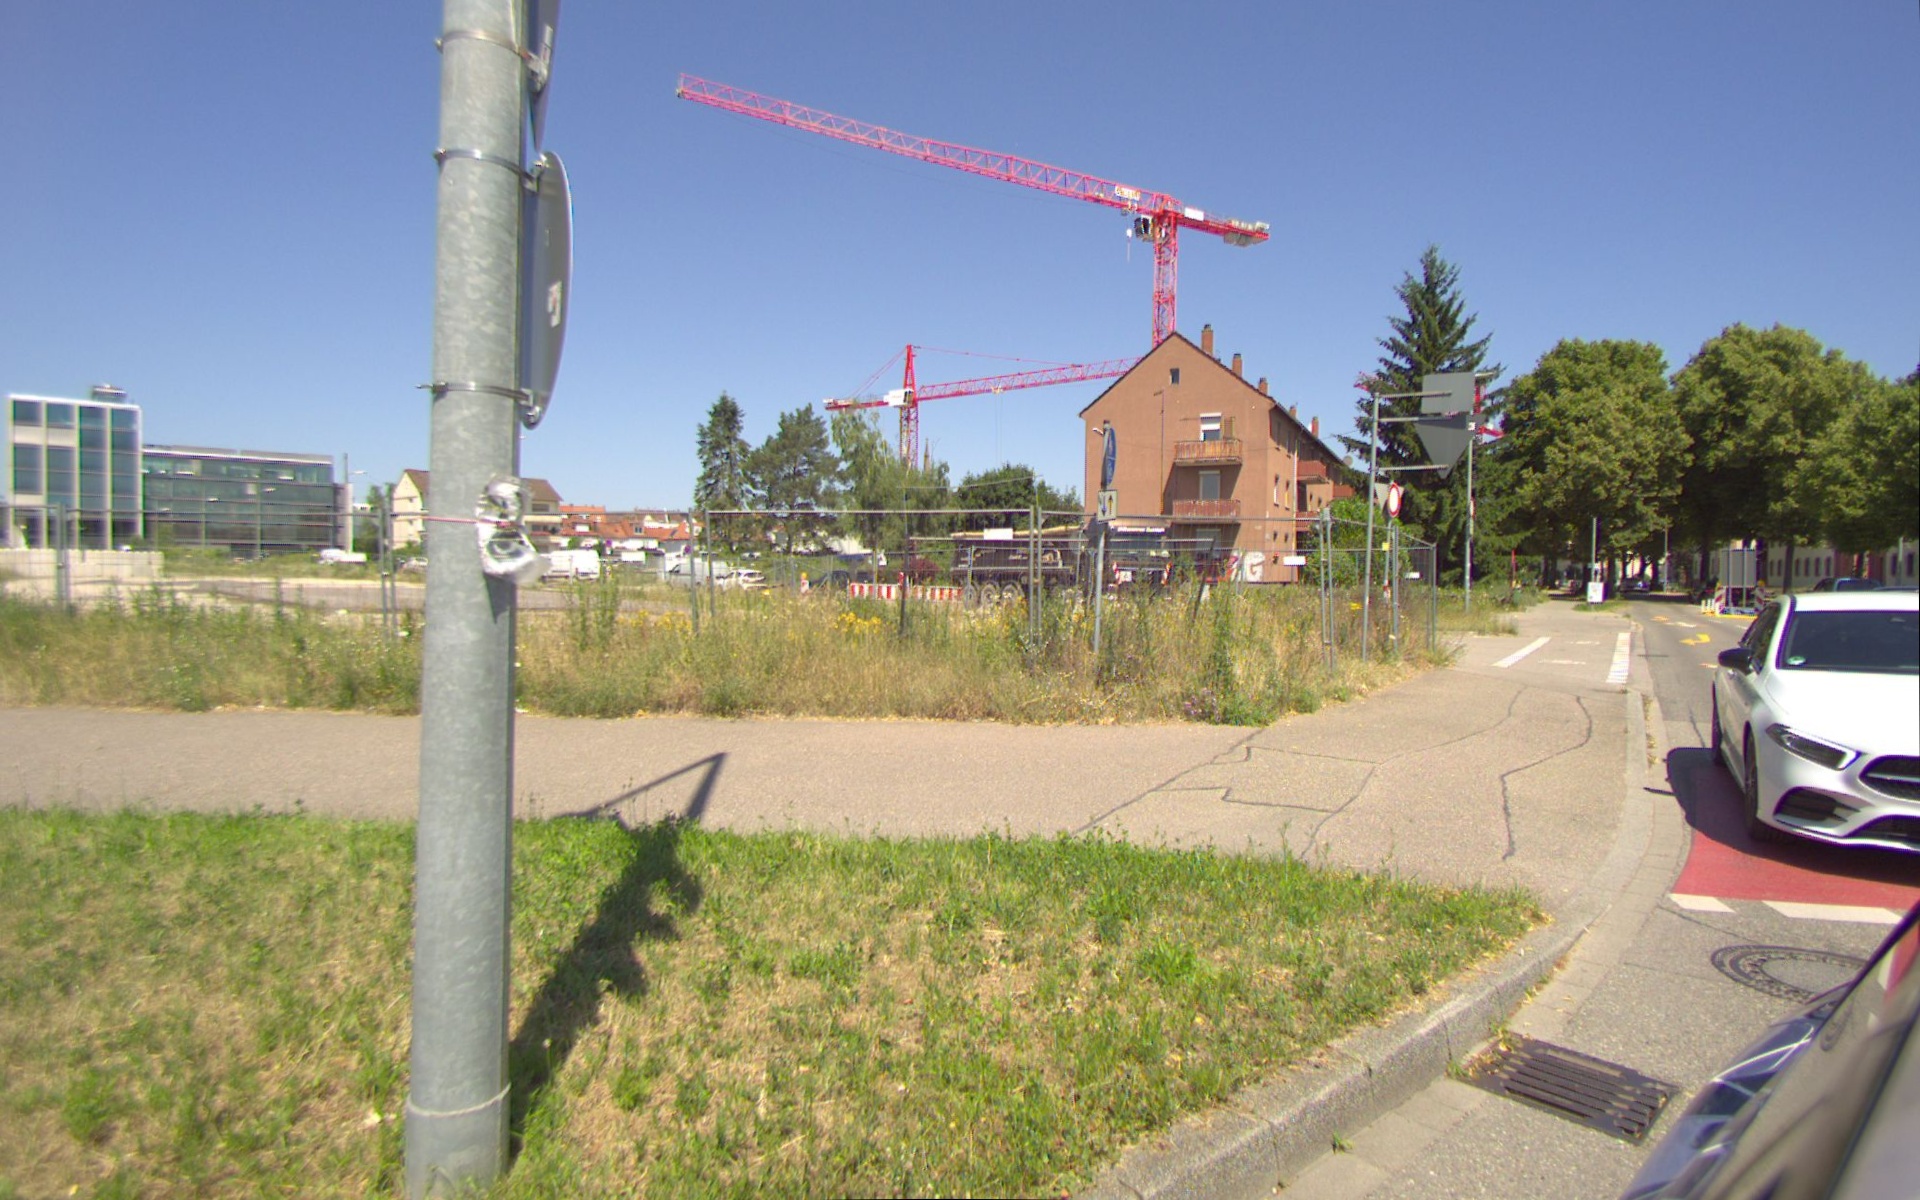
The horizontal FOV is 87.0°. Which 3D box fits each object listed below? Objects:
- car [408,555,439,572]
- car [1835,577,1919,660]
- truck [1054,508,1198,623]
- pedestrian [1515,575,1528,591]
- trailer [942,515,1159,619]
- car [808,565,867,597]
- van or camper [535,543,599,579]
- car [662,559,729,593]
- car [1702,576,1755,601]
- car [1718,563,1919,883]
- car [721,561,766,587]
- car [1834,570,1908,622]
[{"bbox_3d":[-52.481,-3.517,98.905,3.611,1.606,1.654,1,2,44],"label":"car"},{"bbox_3d":[18.403,0.345,18.156,1.771,1.469,4.609,-2,1,7],"label":"car"},{"bbox_3d":[5.501,-1.154,34.438,3.098,3.576,4.976,1,2,-14],"label":"truck"},{"bbox_3d":[54.946,-1.702,99.039,1.018,1.536,0.674,2,2,35],"label":"pedestrian"},{"bbox_3d":[3.230,-1.300,39.289,3.106,3.576,8.989,0,2,-37],"label":"trailer"},{"bbox_3d":[-6.461,-1.026,53.296,1.347,1.633,3.412,-1,2,-42],"label":"car"},{"bbox_3d":[-29.901,-2.993,76.863,1.899,2.634,6.984,0,2,-45],"label":"van or camper"},{"bbox_3d":[-16.755,-1.547,64.000,4.660,2.038,1.760,2,2,39],"label":"car"},{"bbox_3d":[44.398,-0.693,58.551,1.626,1.399,3.857,1,2,25],"label":"car"},{"bbox_3d":[6.039,0.563,6.404,1.769,1.565,3.915,-1,1,34],"label":"car"},{"bbox_3d":[-12.937,-1.567,60.372,1.395,1.422,2.785,-3,4,-43],"label":"car"},{"bbox_3d":[34.944,-0.171,38.907,1.681,1.791,4.148,4,3,37],"label":"car"}]
